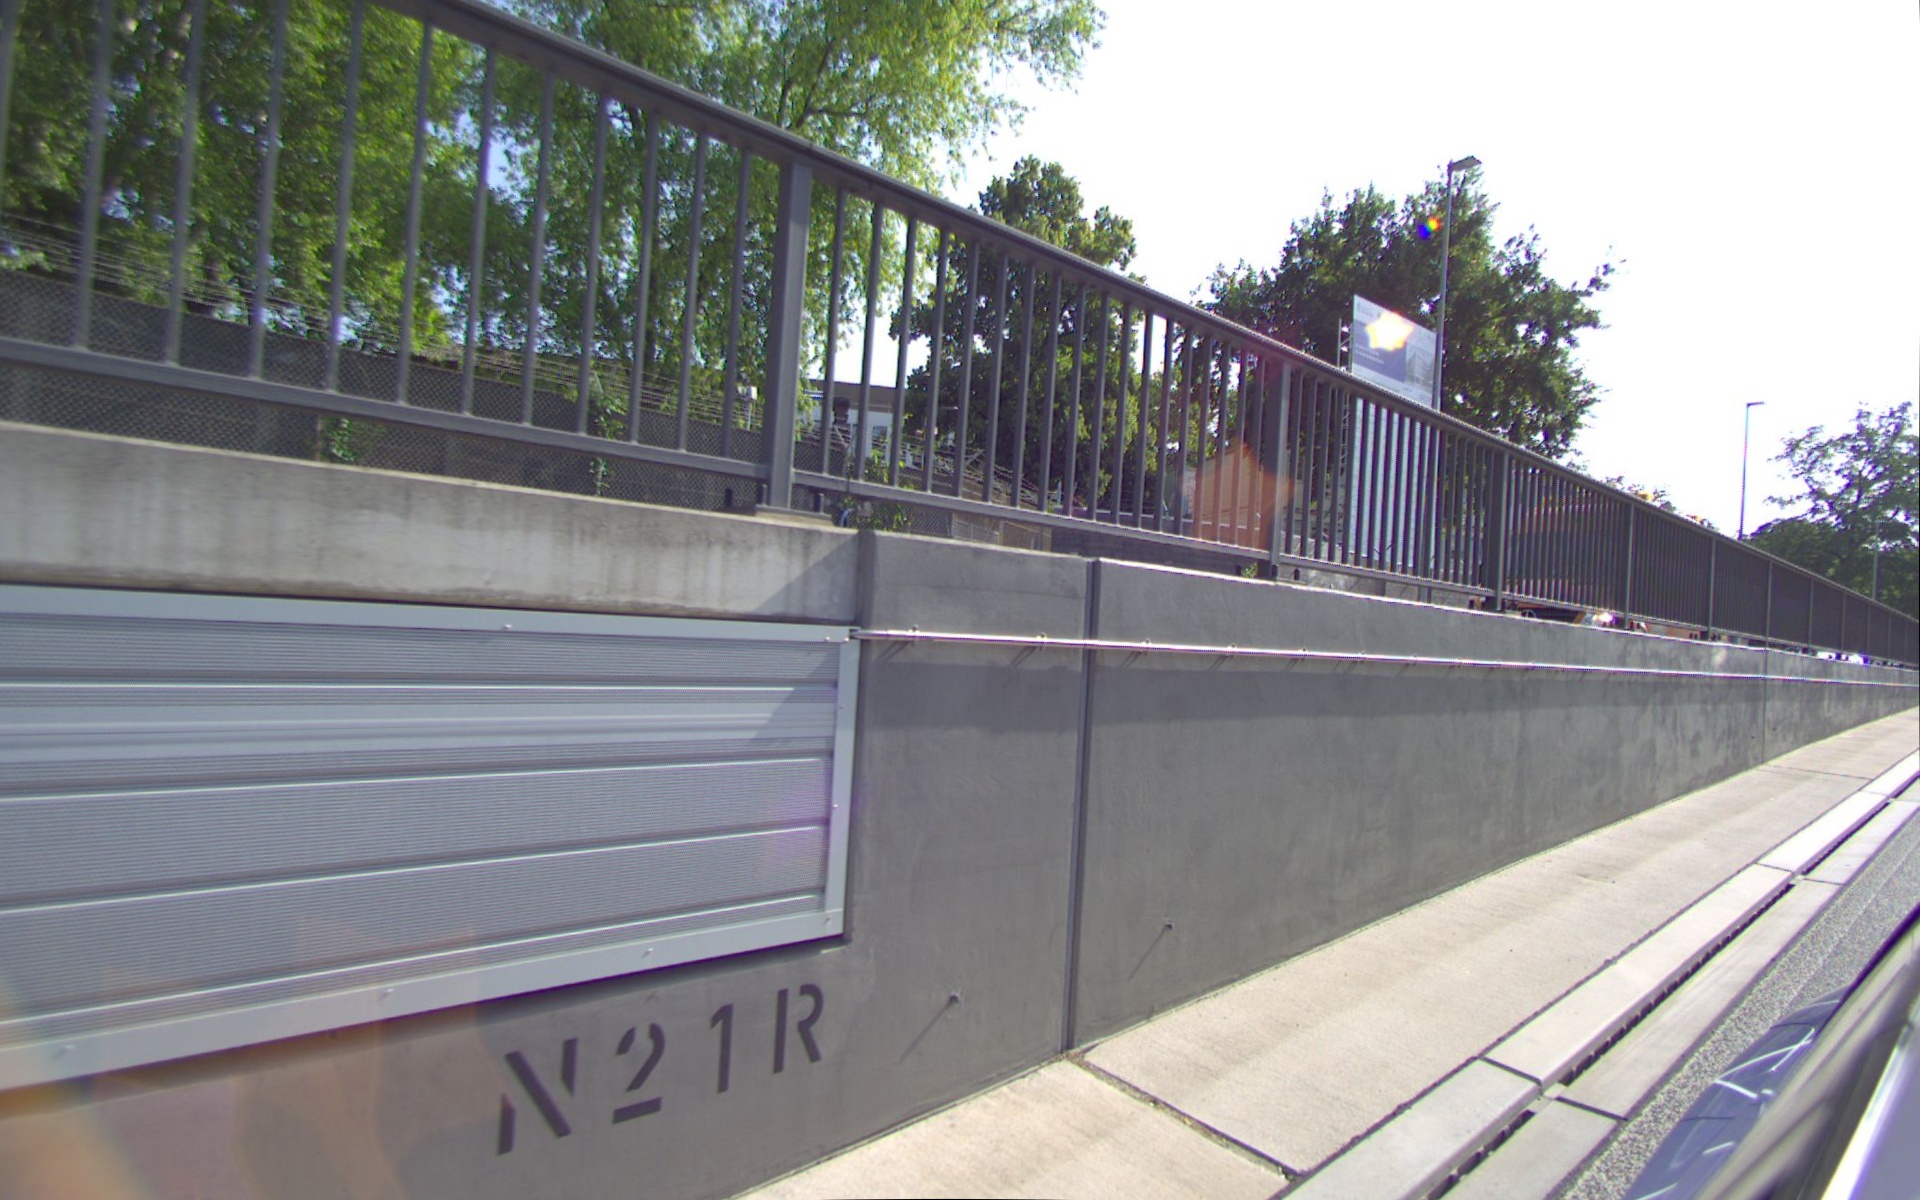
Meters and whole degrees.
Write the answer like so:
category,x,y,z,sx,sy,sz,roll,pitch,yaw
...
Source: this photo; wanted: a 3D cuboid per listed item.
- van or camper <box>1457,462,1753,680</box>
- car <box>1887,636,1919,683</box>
category,x,y,z,sx,sy,sz,roll,pitch,yaw
van or camper,9.319,-0.181,14.348,5.954,2.504,1.989,4,-3,-42
car,34.666,2.165,36.037,4.173,1.591,1.896,4,-3,-39
